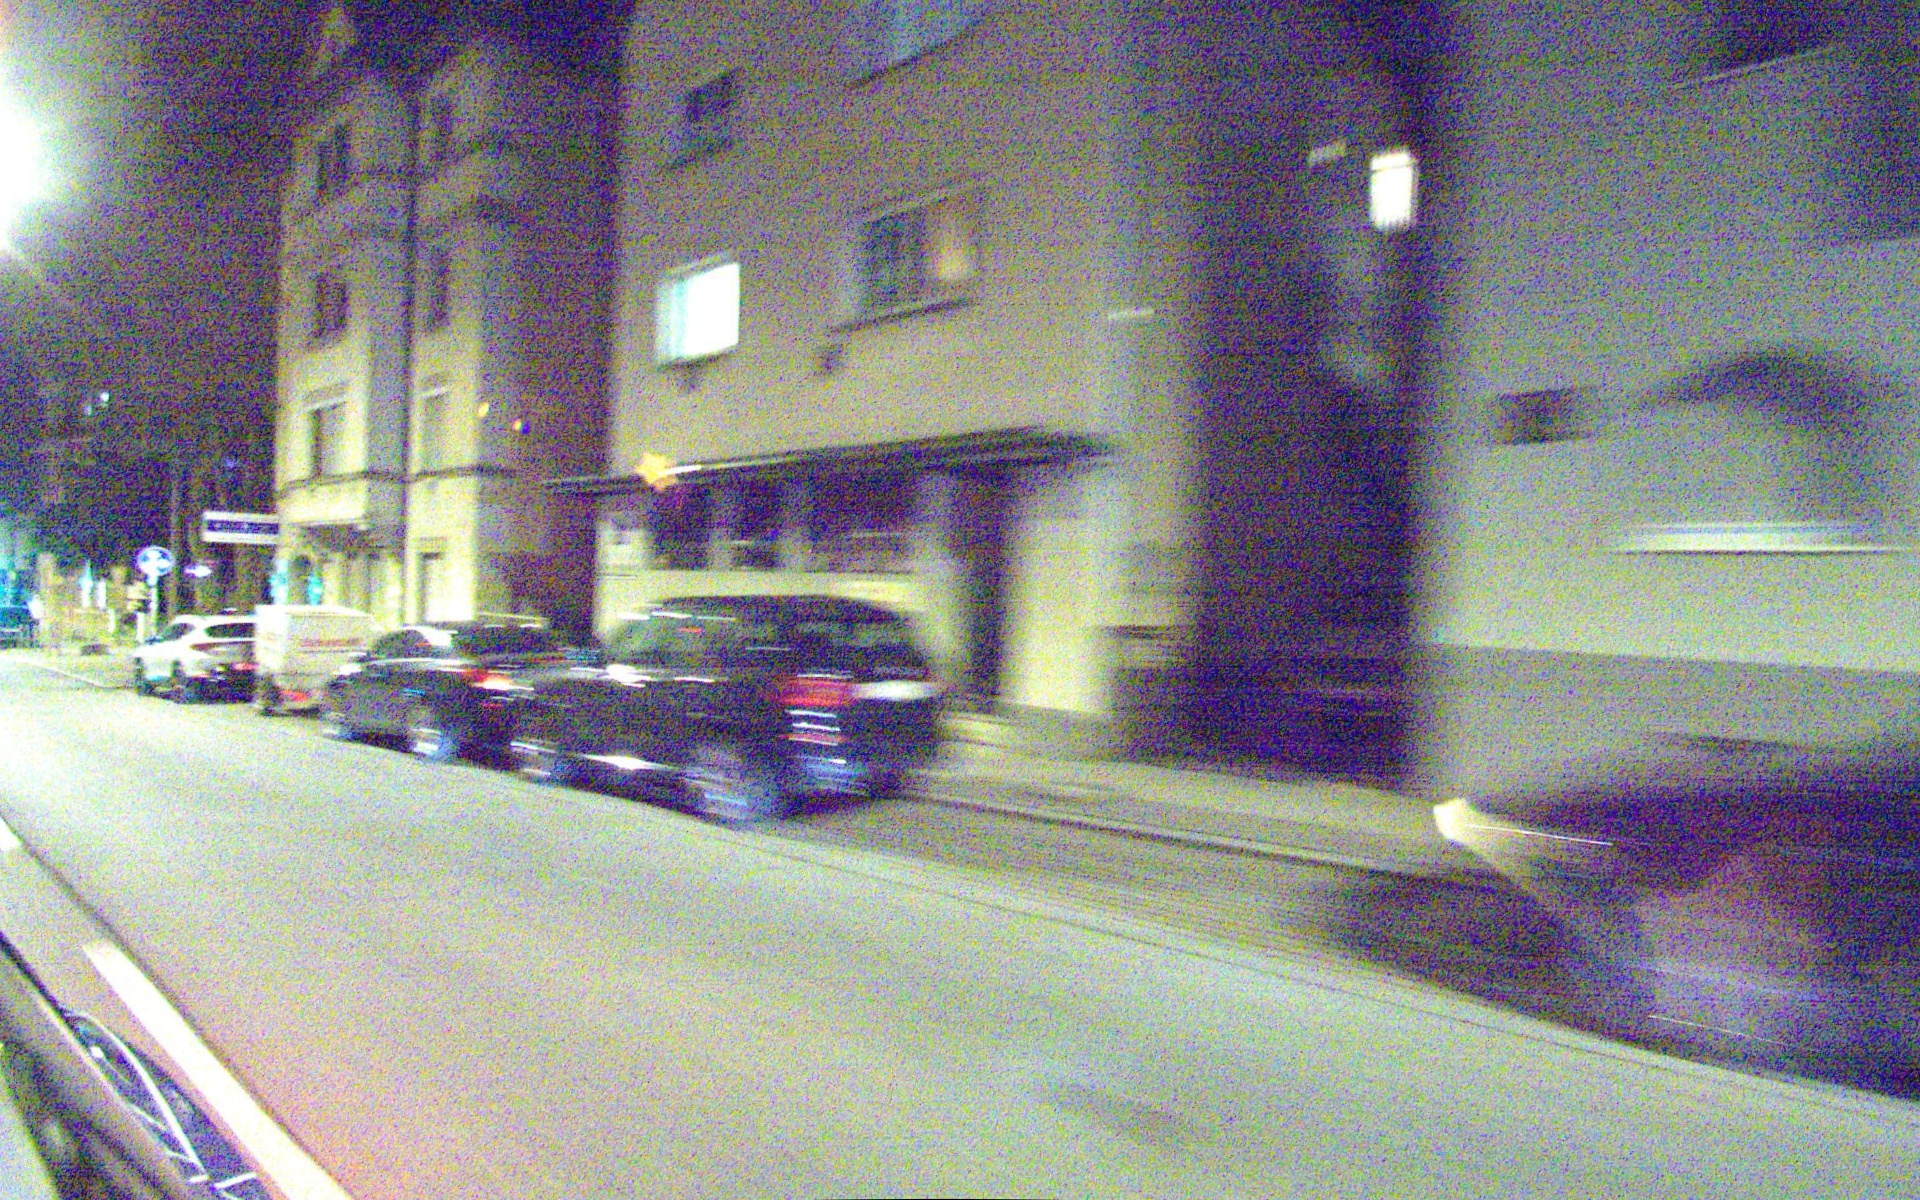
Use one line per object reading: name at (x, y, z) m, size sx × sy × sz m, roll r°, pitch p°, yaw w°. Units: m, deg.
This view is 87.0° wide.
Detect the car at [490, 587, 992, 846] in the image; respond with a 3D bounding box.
car at (-2.059, 0.756, 8.577) m, size 4.542 × 1.631 × 1.816 m, roll -1°, pitch -1°, yaw 41°

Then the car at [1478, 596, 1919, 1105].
car at (4.144, 0.740, 3.100) m, size 4.277 × 1.503 × 1.845 m, roll 0°, pitch 0°, yaw 40°

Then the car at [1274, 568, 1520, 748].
car at (5.744, 0.617, 13.037) m, size 1.958 × 1.930 × 3.948 m, roll 0°, pitch 0°, yaw 39°

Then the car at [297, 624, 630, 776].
car at (-5.942, 1.011, 11.868) m, size 4.540 × 1.458 × 1.816 m, roll -1°, pitch -2°, yaw 40°

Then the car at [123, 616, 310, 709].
car at (-13.871, 1.064, 18.793) m, size 4.343 × 1.495 × 1.796 m, roll 0°, pitch -1°, yaw 39°

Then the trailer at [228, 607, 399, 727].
trailer at (-10.341, 0.960, 16.096) m, size 1.619 × 1.652 × 3.441 m, roll 0°, pitch 0°, yaw -45°

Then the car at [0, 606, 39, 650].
car at (-38.138, 1.121, 39.955) m, size 4.664 × 1.663 × 1.831 m, roll -1°, pitch -1°, yaw 37°
